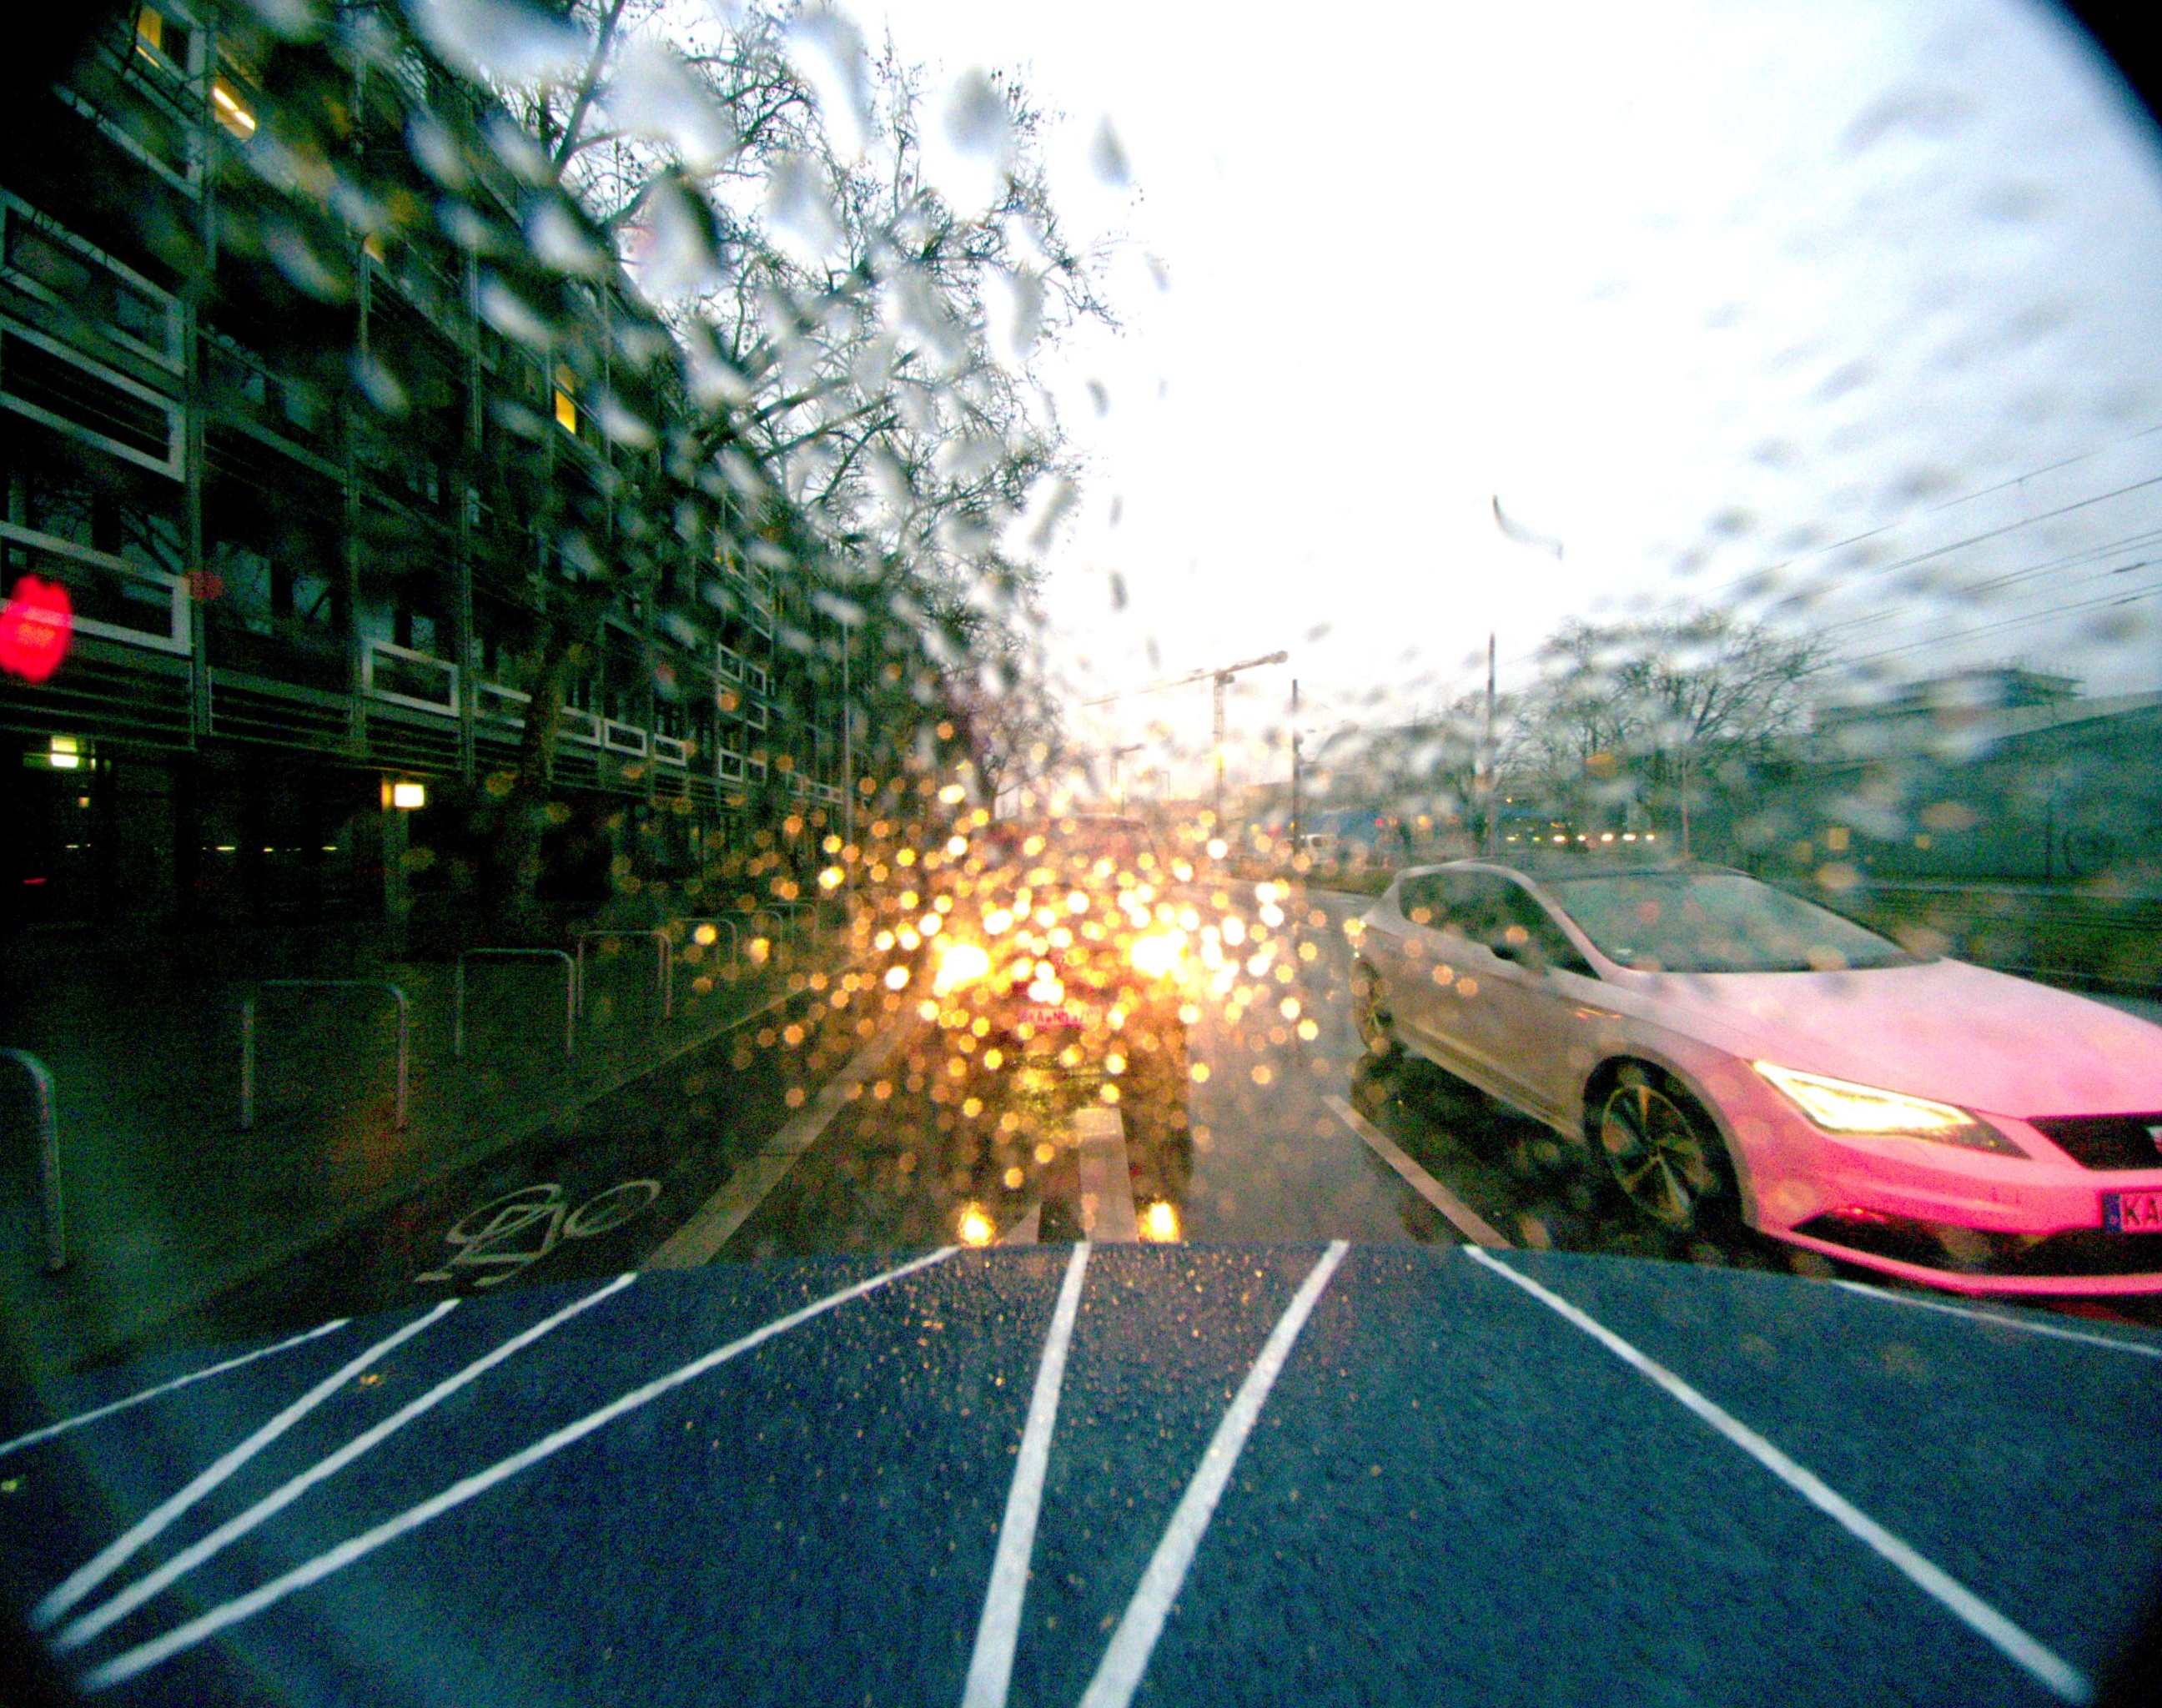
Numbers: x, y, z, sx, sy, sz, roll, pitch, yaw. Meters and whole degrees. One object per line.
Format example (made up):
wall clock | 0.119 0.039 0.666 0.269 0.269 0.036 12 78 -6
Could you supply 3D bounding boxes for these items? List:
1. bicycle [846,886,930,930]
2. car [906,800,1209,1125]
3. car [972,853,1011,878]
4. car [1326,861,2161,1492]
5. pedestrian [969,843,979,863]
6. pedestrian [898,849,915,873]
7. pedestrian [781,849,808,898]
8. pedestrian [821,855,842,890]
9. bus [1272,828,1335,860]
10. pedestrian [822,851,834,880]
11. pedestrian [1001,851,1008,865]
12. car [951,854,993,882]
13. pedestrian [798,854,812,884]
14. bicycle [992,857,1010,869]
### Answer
bicycle | -4.453 1.248 17.599 1.792 0.968 0.617 1 1 -4
car | -0.117 0.664 6.703 1.858 2.002 4.000 0 1 1
car | -5.926 0.781 50.698 1.998 1.477 4.001 3 -2 1
car | 2.923 0.829 3.993 1.778 1.466 4.128 -2 1 -2
pedestrian | -10.596 -0.071 75.329 0.791 2.002 1.024 -1 1 0
pedestrian | -11.055 0.445 48.157 0.866 1.515 0.837 -1 1 -2
pedestrian | -11.775 0.789 31.289 0.822 2.002 0.735 -1 1 -2
pedestrian | -10.930 0.799 33.309 0.649 1.535 0.615 0 1 1
bus | 26.082 -1.133 89.945 2.815 3.557 12.298 -1 0 -6
pedestrian | -14.420 0.656 43.323 0.642 1.645 0.841 -1 1 -16
pedestrian | -10.766 0.588 107.311 0.838 2.002 0.771 -2 2 -1
car | -6.173 0.786 43.368 1.608 1.424 3.930 2 1 2
pedestrian | -12.459 0.668 34.279 0.494 1.361 0.502 -1 1 -13
bicycle | -7.220 0.802 68.360 1.523 1.030 0.469 -2 1 -7
